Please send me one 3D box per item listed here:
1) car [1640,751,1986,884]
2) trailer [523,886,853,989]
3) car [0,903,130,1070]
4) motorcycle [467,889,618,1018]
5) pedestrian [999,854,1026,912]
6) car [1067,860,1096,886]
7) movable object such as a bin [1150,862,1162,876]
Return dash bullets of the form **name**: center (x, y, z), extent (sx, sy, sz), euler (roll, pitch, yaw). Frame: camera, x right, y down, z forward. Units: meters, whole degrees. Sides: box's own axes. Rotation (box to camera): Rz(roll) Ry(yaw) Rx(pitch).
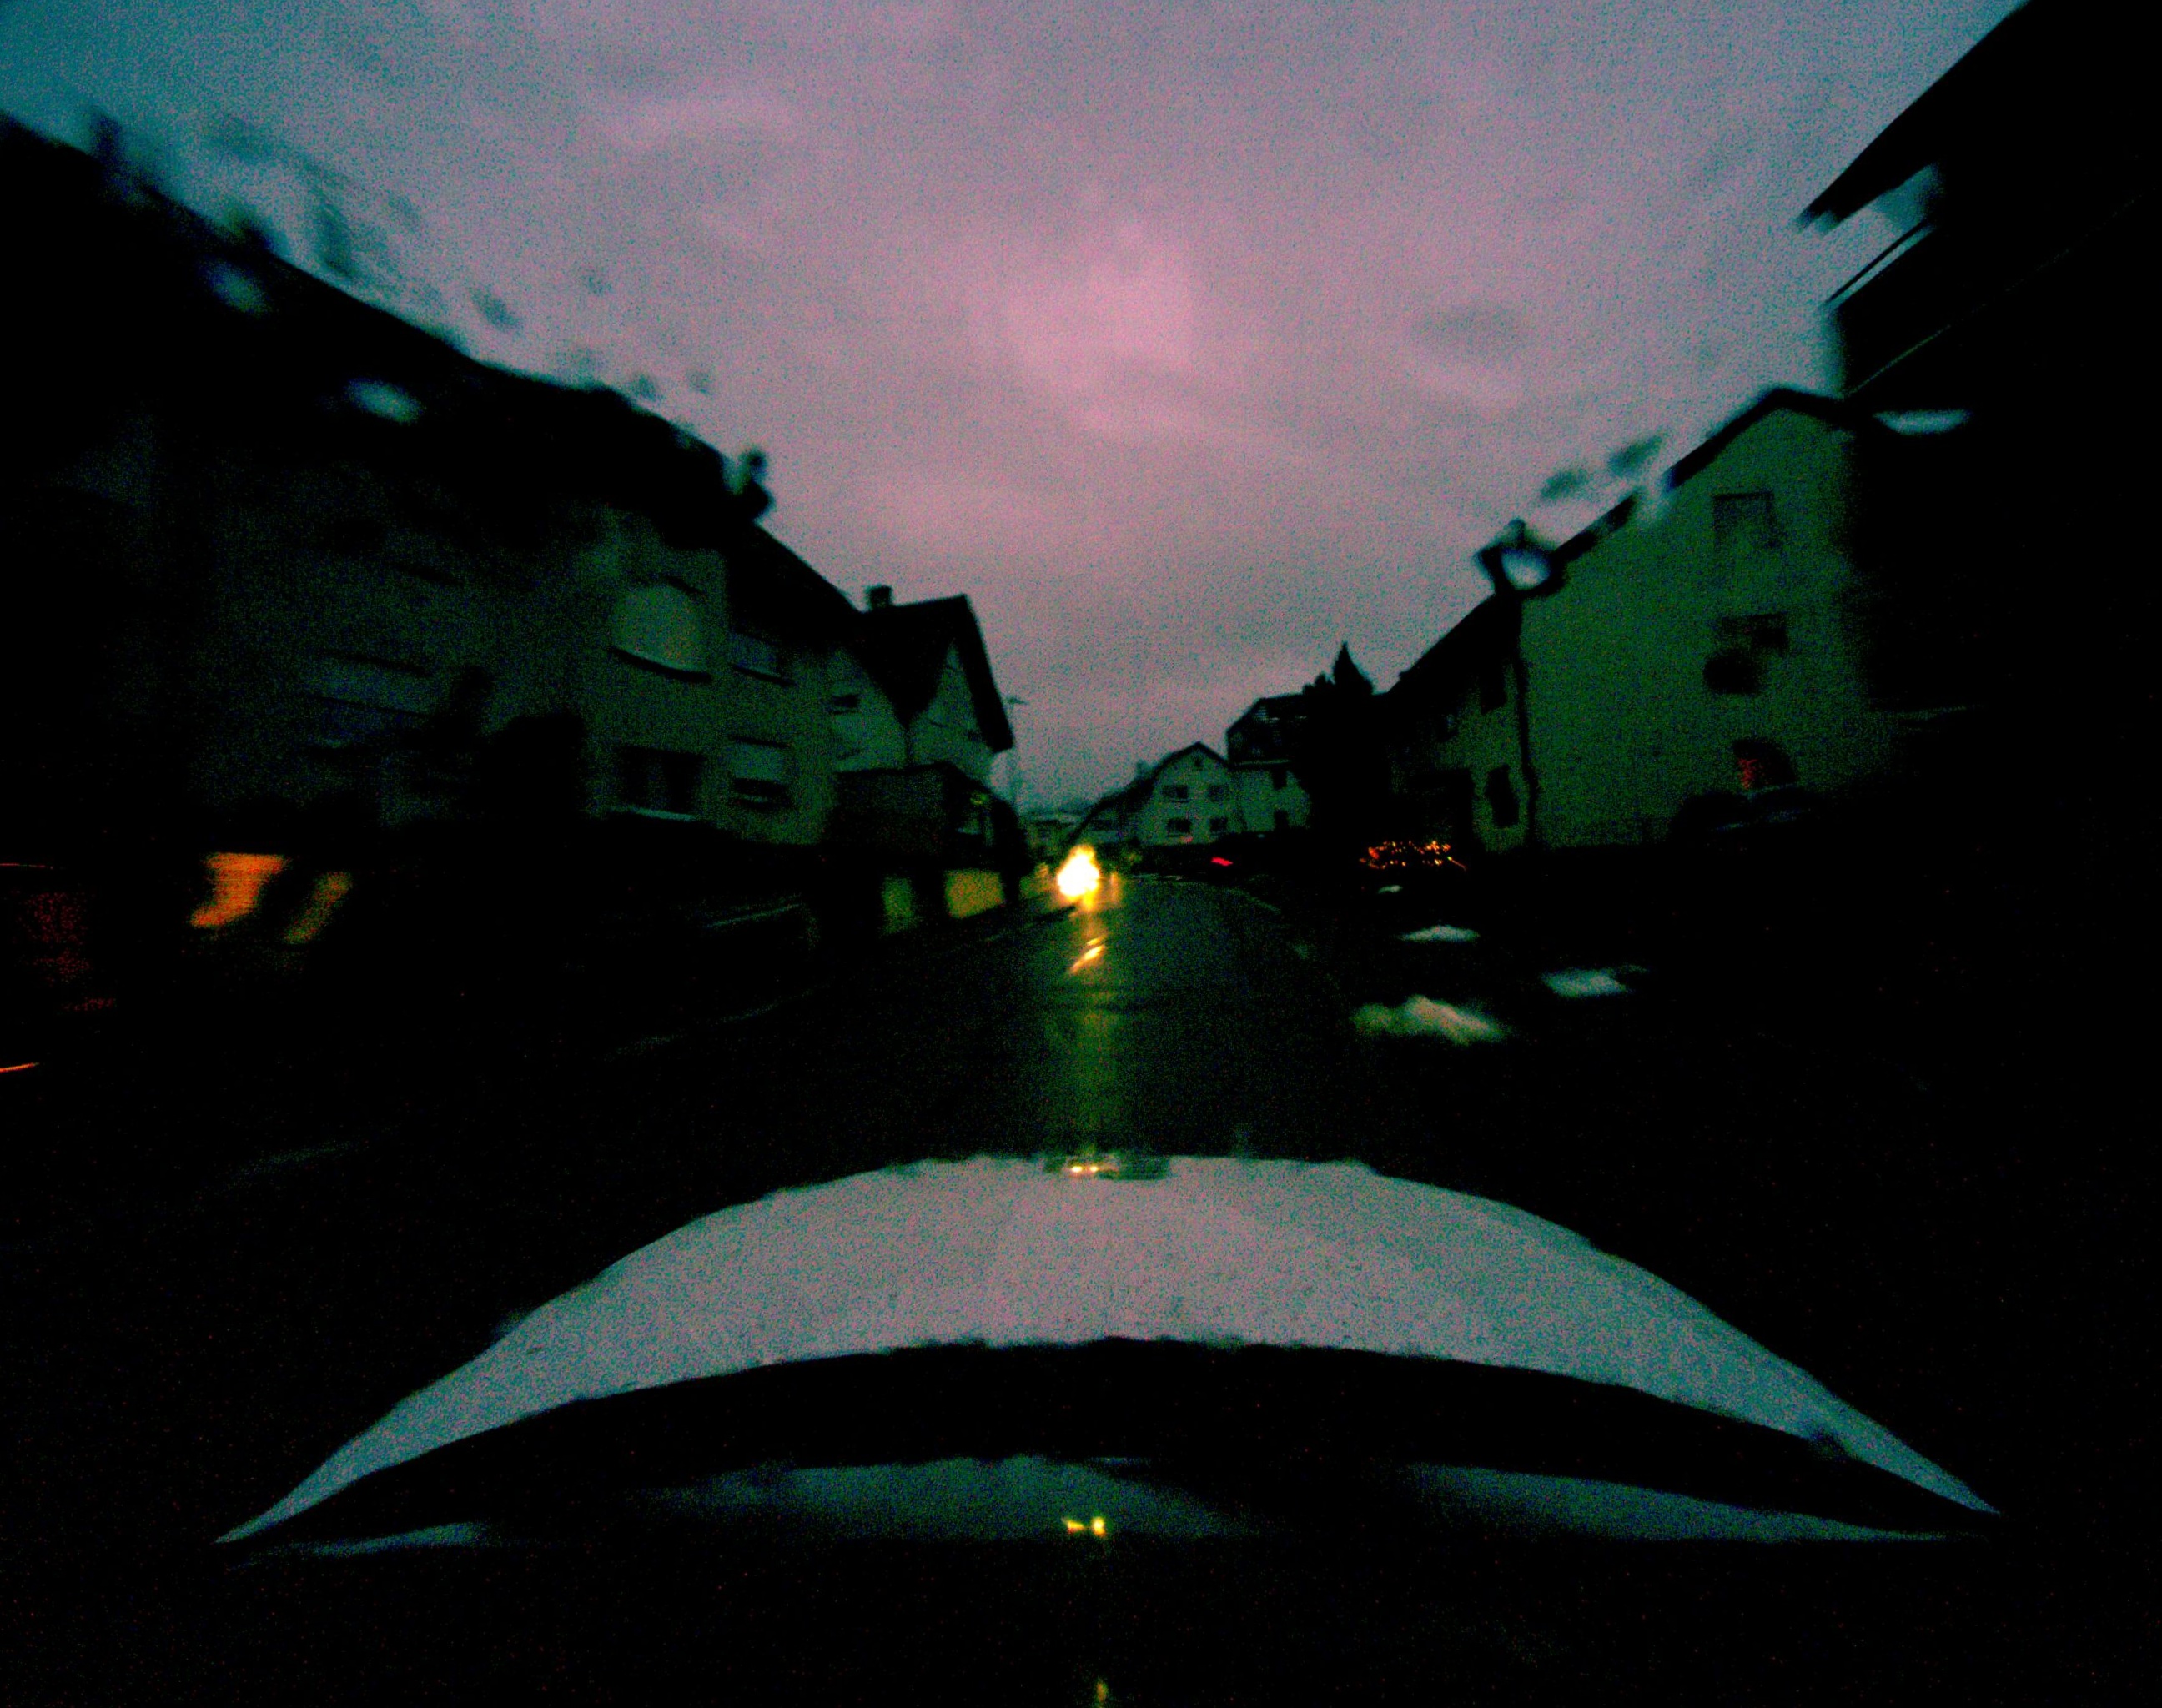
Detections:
- **car**: center (12.758, -0.605, 14.406), extent (4.243, 1.648, 2.061), euler (-8, 0, -3)
- **trailer**: center (-5.845, 1.186, 12.992), extent (2.043, 1.169, 4.886), euler (-2, -1, 14)
- **car**: center (-11.298, 1.224, 7.643), extent (3.952, 1.416, 1.927), euler (-2, -1, 22)
- **motorcycle**: center (-6.500, 1.103, 9.773), extent (2.210, 1.298, 1.063), euler (-2, -1, 44)
- **pedestrian**: center (-2.089, 0.888, 25.004), extent (0.594, 1.733, 0.814), euler (-2, -2, 10)
- **car**: center (0.089, 1.569, 69.174), extent (2.101, 2.027, 4.986), euler (-3, -1, 3)
- **movable object such as a bin**: center (5.044, 1.034, 54.852), extent (0.636, 0.917, 0.684), euler (-2, -1, -6)
